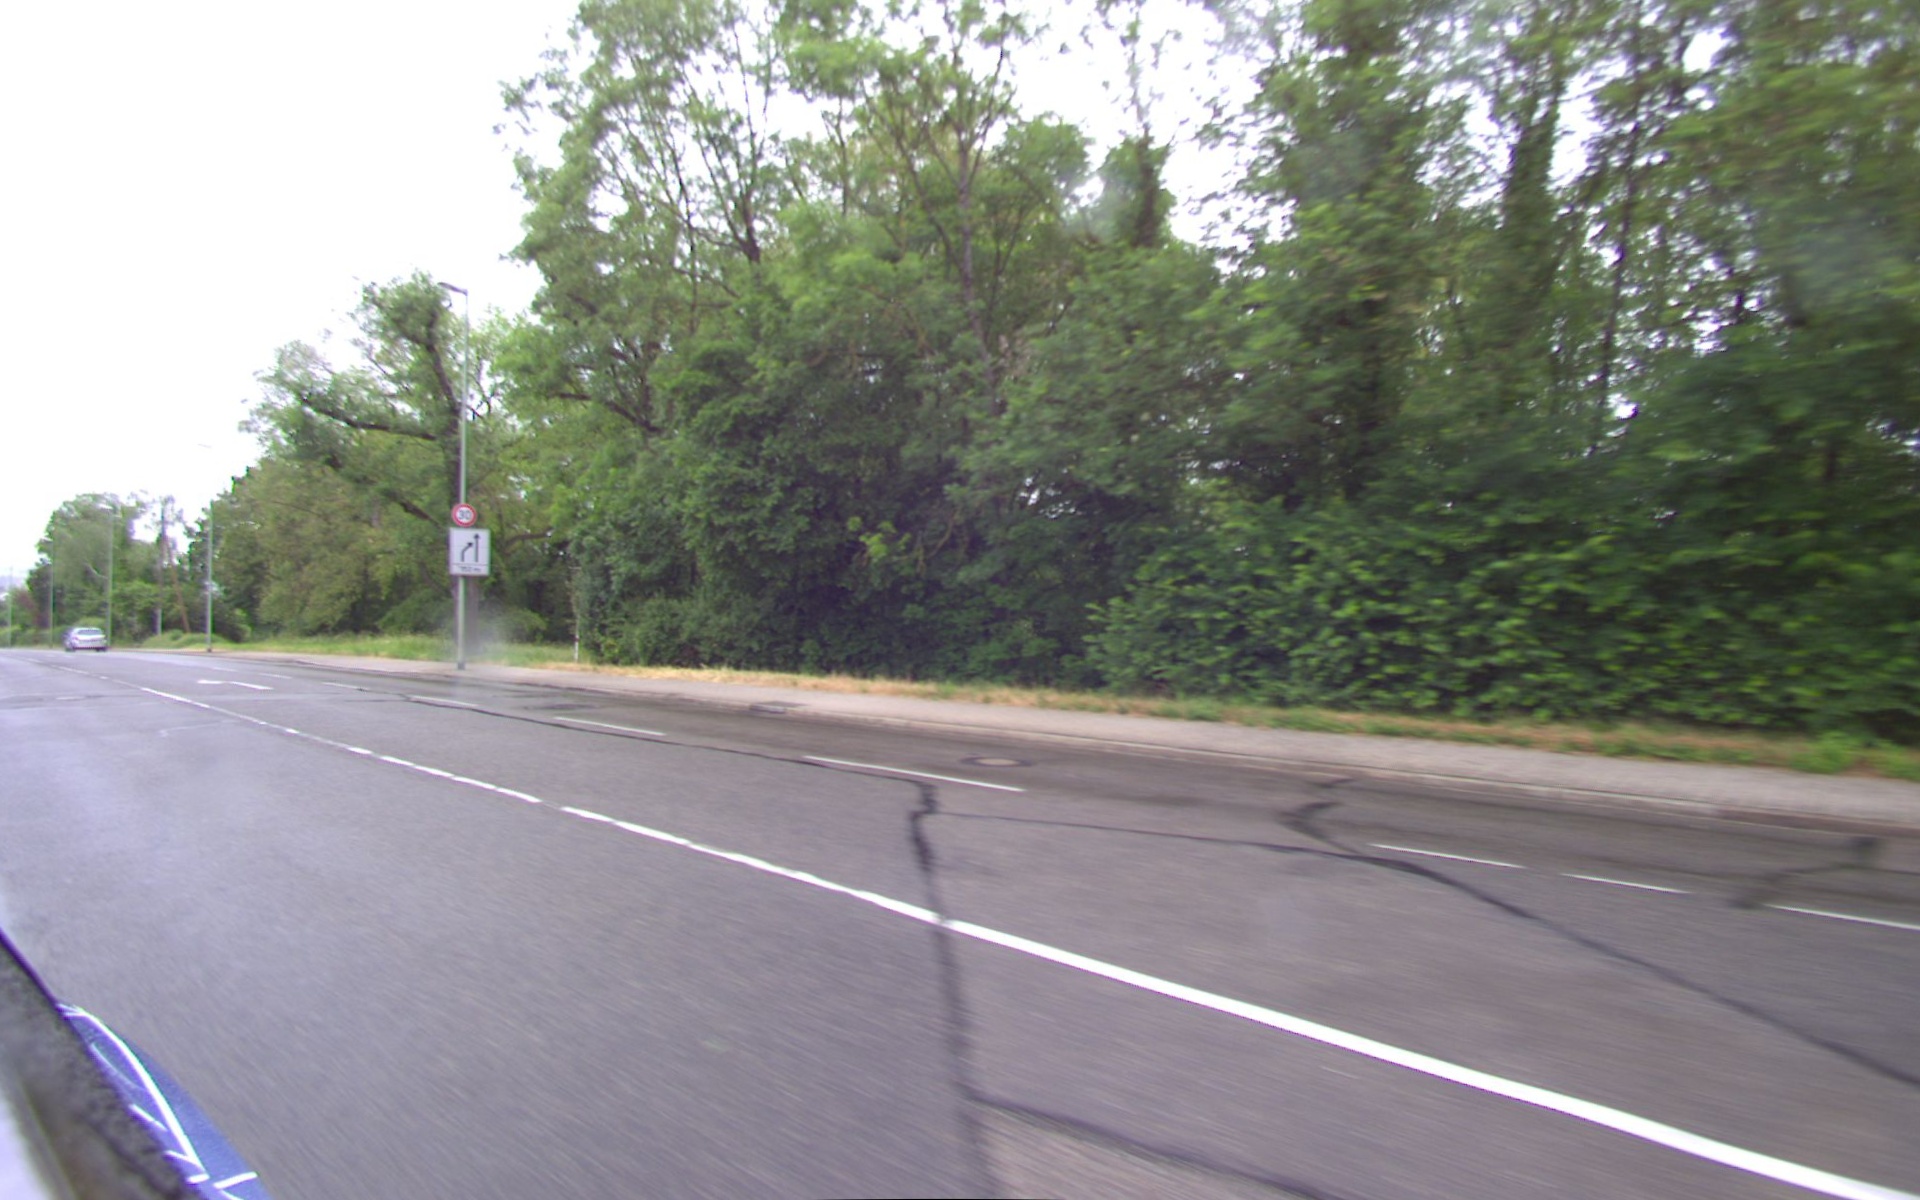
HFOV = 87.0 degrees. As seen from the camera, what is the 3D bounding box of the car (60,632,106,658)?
[{"bbox_3d":[-53.827,2.747,62.080,4.453,1.494,1.670,-2,-3,44],"label":"car"}]
